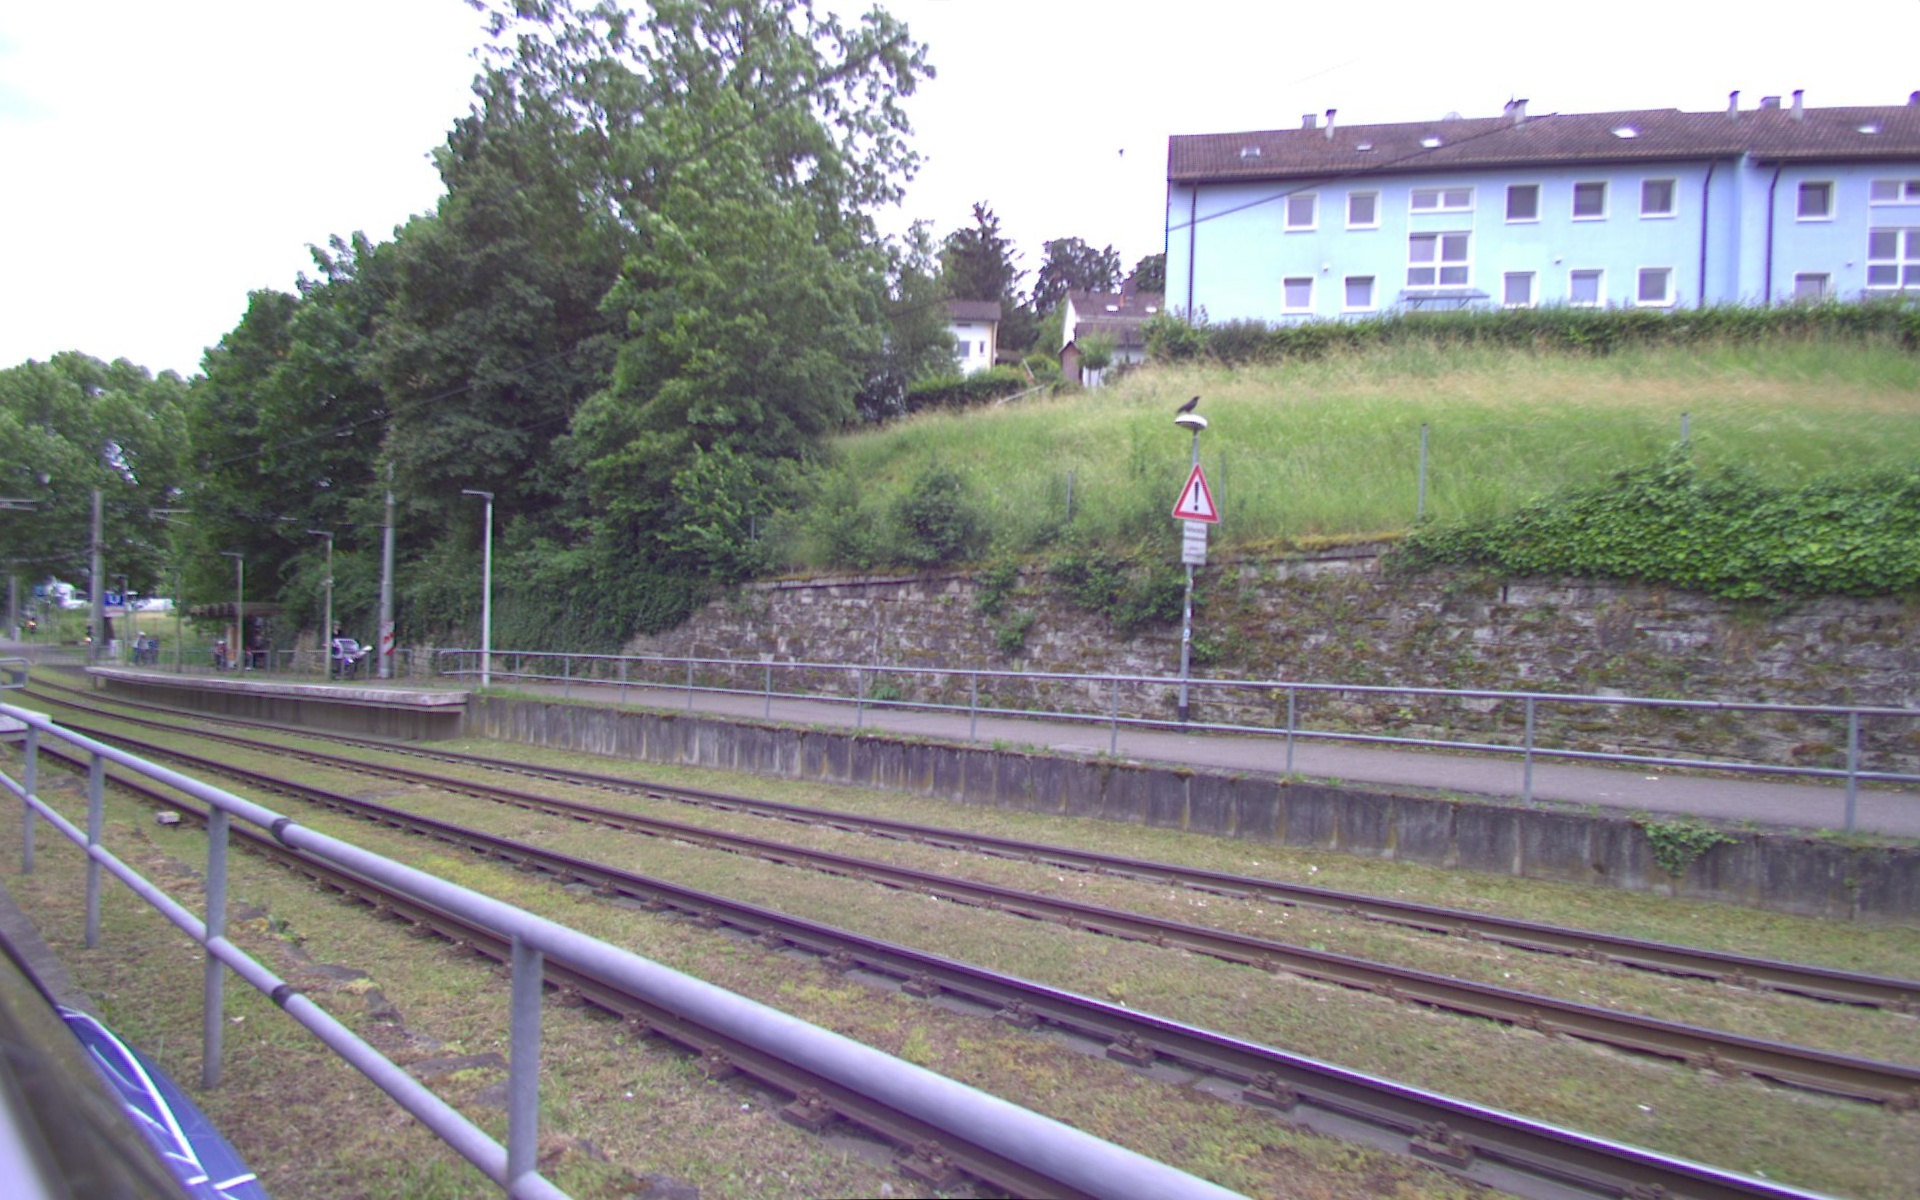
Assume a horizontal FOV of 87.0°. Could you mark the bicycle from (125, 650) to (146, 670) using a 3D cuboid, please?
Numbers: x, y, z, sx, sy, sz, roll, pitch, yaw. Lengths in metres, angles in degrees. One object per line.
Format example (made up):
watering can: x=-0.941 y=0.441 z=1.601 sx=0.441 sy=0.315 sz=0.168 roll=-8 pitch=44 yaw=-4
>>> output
bicycle: x=-39.344 y=2.878 z=48.268 sx=1.843 sy=0.932 sz=0.472 roll=-4 pitch=-3 yaw=41

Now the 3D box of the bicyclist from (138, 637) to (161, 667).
bicyclist: x=-39.999 y=2.550 z=49.953 sx=0.839 sy=1.454 sz=0.722 roll=-3 pitch=-2 yaw=40

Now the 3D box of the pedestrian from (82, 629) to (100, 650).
pedestrian: x=-72.889 y=3.314 z=84.871 sx=1.100 sy=1.747 sz=0.695 roll=0 pitch=-1 yaw=-39

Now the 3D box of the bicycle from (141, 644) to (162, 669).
bicycle: x=-39.878 y=2.803 z=49.920 sx=1.939 sy=1.197 sz=0.458 roll=-3 pitch=-2 yaw=41

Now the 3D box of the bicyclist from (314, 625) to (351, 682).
bicyclist: x=-18.948 y=1.607 z=30.574 sx=1.033 sy=1.641 sz=0.696 roll=-3 pitch=-2 yaw=44

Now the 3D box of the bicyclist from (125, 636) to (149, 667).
bicyclist: x=-39.106 y=2.433 z=48.070 sx=0.907 sy=1.442 sz=0.737 roll=-4 pitch=-3 yaw=41

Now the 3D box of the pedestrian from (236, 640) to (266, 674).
pedestrian: x=-29.875 y=2.390 z=42.633 sx=0.772 sy=1.385 sz=0.813 roll=-1 pitch=-1 yaw=35

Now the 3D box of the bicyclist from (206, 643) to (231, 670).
bicyclist: x=-30.414 y=2.307 z=41.514 sx=0.744 sy=1.061 sz=0.682 roll=-3 pitch=-2 yaw=41

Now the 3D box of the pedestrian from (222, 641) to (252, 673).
pedestrian: x=-30.901 y=2.418 z=43.247 sx=0.772 sy=1.333 sz=0.813 roll=-1 pitch=-1 yaw=35

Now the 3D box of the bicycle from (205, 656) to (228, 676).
bicycle: x=-30.498 y=2.682 z=41.503 sx=1.564 sy=0.787 sz=0.445 roll=-3 pitch=-2 yaw=42

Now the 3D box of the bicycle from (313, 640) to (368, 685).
bicycle: x=-18.470 y=1.845 z=30.132 sx=2.868 sy=1.249 sz=0.742 roll=-3 pitch=-2 yaw=45
